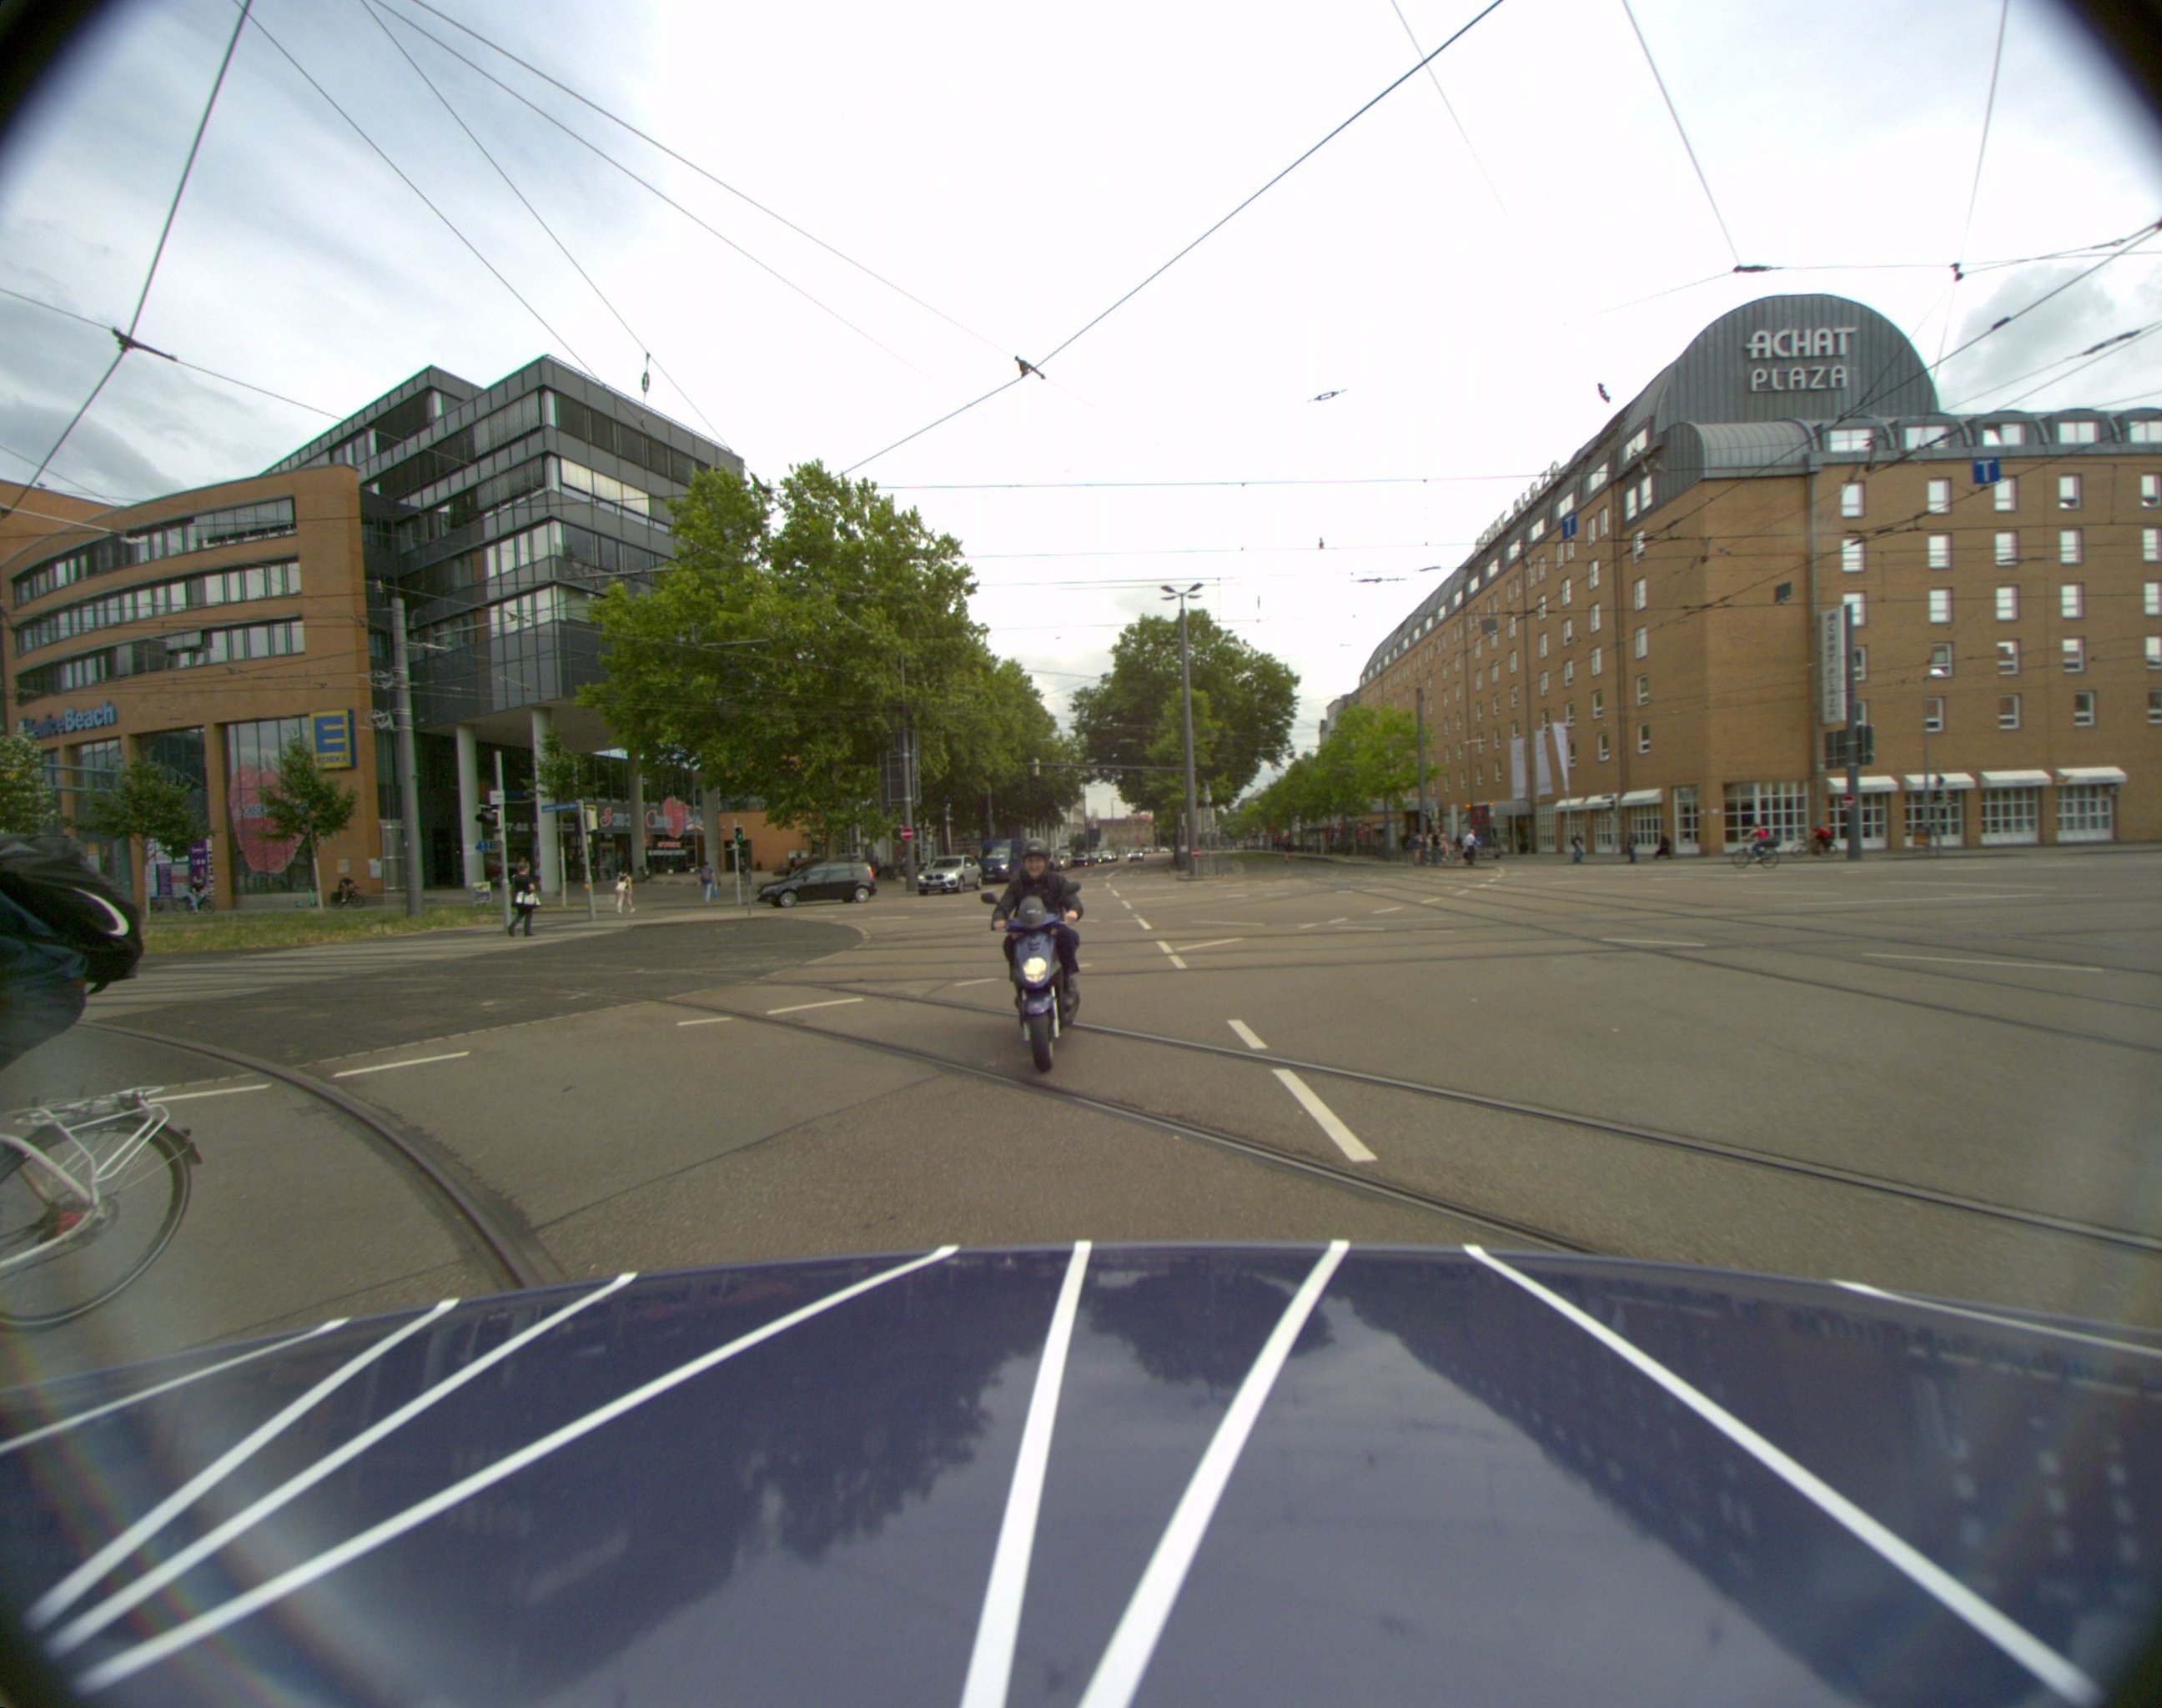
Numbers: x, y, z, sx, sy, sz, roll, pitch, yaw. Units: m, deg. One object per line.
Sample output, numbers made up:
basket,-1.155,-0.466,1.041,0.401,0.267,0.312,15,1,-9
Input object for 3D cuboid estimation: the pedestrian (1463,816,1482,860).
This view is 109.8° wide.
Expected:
pedestrian,18.997,-0.773,36.890,0.564,2.118,0.534,-2,1,-7

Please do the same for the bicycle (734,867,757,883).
bicycle,-21.795,1.349,49.431,0.535,0.911,1.542,-2,1,12

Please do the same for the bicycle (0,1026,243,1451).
bicycle,-3.570,1.238,1.999,0.595,1.132,1.858,-2,0,2

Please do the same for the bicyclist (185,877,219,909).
bicyclist,-45.295,1.994,39.152,0.977,1.607,0.638,-2,2,8

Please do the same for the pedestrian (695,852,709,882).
pedestrian,-24.091,0.839,48.347,0.545,1.855,0.515,-2,1,29

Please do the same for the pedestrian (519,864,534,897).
pedestrian,-31.825,1.488,43.632,0.627,1.855,0.671,-2,1,-34

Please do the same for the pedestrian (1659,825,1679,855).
pedestrian,30.423,-0.727,39.330,0.535,1.498,0.648,-3,2,-33

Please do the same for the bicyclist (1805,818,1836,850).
bicyclist,35.281,-0.940,36.240,0.864,1.493,0.637,-2,1,18

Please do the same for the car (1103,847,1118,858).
car,3.984,-0.203,102.949,1.574,1.270,3.733,-2,1,8

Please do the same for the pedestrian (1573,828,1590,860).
pedestrian,26.876,-0.534,40.801,0.563,1.696,0.535,-2,1,4

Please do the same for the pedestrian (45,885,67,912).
pedestrian,-60.802,2.635,45.066,0.446,1.590,0.617,-1,1,25

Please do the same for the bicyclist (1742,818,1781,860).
bicyclist,24.543,-0.539,27.412,0.651,1.493,0.817,-2,1,-3

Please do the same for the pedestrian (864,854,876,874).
pedestrian,-16.306,0.784,58.753,0.587,1.502,0.683,-2,2,13

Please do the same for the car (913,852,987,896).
car,-5.730,0.827,33.907,1.963,1.651,4.640,-4,0,6

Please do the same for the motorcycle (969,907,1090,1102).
motorcycle,-0.355,1.091,6.216,0.769,1.101,2.207,-2,1,-1

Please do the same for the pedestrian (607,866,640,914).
pedestrian,-16.442,1.291,27.327,0.587,1.642,0.744,-2,1,10

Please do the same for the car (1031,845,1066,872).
car,-2.572,0.307,61.147,1.997,2.002,5.439,-2,0,6

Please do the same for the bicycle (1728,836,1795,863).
bicycle,24.557,-0.158,27.476,0.659,0.931,1.892,-2,1,-3

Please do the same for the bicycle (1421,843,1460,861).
bicycle,18.510,-0.101,39.125,1.710,0.884,0.499,-2,1,4

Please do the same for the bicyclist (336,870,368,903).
bicyclist,-36.082,1.593,37.598,0.977,1.606,0.638,-2,1,8

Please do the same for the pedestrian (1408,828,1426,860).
pedestrian,18.178,-0.563,41.061,0.684,1.696,0.534,-2,1,-7

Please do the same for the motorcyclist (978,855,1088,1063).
motorcyclist,-0.360,0.780,6.153,0.761,1.510,1.017,-2,1,-1

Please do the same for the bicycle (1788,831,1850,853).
bicycle,35.211,-0.566,36.272,2.056,1.002,0.641,-2,1,18

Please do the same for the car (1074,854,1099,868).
car,0.587,0.729,79.572,1.997,1.270,4.002,-2,1,8

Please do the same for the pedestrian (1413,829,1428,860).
pedestrian,19.102,-0.546,42.782,0.564,1.696,0.534,-2,1,-7

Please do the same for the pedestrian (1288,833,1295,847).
pedestrian,24.565,-1.633,88.702,0.648,1.696,0.624,-2,1,6

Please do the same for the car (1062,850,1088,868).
car,-0.501,0.447,69.003,1.915,1.533,4.094,-2,0,6

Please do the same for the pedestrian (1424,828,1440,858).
pedestrian,20.090,-0.648,43.493,0.564,1.696,0.534,-2,1,-7

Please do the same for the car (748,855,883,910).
car,-9.708,0.985,27.915,4.187,1.728,1.960,-3,1,-38

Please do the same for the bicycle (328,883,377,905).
bicycle,-36.065,2.000,37.603,2.002,1.005,0.638,-2,1,8

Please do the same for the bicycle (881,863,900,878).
bicycle,-12.933,1.104,51.585,0.535,0.911,1.724,-2,1,12

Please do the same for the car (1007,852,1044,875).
car,-3.786,0.648,52.481,1.756,1.410,4.275,-1,1,6

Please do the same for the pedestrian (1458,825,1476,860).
pedestrian,19.281,-0.577,37.934,0.564,1.696,0.578,-2,1,-7

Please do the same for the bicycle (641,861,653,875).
bicycle,-29.309,0.950,51.312,0.537,0.911,1.560,-3,1,-36

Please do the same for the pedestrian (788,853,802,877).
pedestrian,-21.586,0.836,57.418,0.586,1.722,0.745,-1,2,45

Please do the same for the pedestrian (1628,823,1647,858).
pedestrian,28.113,-0.678,38.366,0.563,1.696,0.535,-2,1,1

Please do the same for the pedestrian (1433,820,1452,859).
pedestrian,18.397,-0.735,38.700,0.693,1.941,0.534,-2,1,-1

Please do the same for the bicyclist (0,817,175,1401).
bicyclist,-3.574,0.775,2.195,0.591,1.760,1.035,-2,1,2

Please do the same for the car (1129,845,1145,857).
car,7.143,-0.356,95.927,1.845,1.369,3.835,-2,-1,6

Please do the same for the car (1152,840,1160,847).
car,20.709,-2.952,210.379,1.668,1.699,3.999,-2,1,-1

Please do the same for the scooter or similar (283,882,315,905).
scooter or similar,-41.451,2.094,40.274,1.472,1.160,0.486,-2,1,14

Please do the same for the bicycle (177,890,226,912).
bicycle,-45.306,2.429,39.161,2.002,1.005,0.638,-2,1,8

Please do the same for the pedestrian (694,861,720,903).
pedestrian,-15.779,1.169,32.110,0.587,1.722,0.744,-2,1,10

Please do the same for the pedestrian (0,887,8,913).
pedestrian,-66.022,2.806,46.358,0.446,1.590,0.486,-1,1,25

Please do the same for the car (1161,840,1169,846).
car,23.296,-2.991,210.686,1.668,1.699,3.999,-2,1,-1

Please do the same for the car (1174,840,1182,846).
car,26.708,-3.102,210.083,1.668,1.699,3.999,-2,1,-1

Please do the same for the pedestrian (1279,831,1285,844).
pedestrian,27.018,-2.158,102.065,0.648,1.696,0.624,-2,1,9

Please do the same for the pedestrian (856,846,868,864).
pedestrian,-18.471,0.062,64.042,0.586,1.502,0.683,-1,2,25

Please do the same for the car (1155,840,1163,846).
car,22.047,-3.140,215.561,1.668,1.699,3.999,-2,1,-1

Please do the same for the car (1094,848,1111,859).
car,2.706,-0.088,94.862,1.711,1.270,4.002,-2,1,8

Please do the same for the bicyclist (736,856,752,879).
bicyclist,-21.845,0.868,49.282,0.531,1.424,0.739,-2,1,12

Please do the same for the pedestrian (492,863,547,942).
pedestrian,-13.046,1.114,17.658,0.678,1.781,0.669,-2,1,3

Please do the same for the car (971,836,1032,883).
car,-4.551,0.265,44.646,2.174,2.441,6.999,-2,0,5
